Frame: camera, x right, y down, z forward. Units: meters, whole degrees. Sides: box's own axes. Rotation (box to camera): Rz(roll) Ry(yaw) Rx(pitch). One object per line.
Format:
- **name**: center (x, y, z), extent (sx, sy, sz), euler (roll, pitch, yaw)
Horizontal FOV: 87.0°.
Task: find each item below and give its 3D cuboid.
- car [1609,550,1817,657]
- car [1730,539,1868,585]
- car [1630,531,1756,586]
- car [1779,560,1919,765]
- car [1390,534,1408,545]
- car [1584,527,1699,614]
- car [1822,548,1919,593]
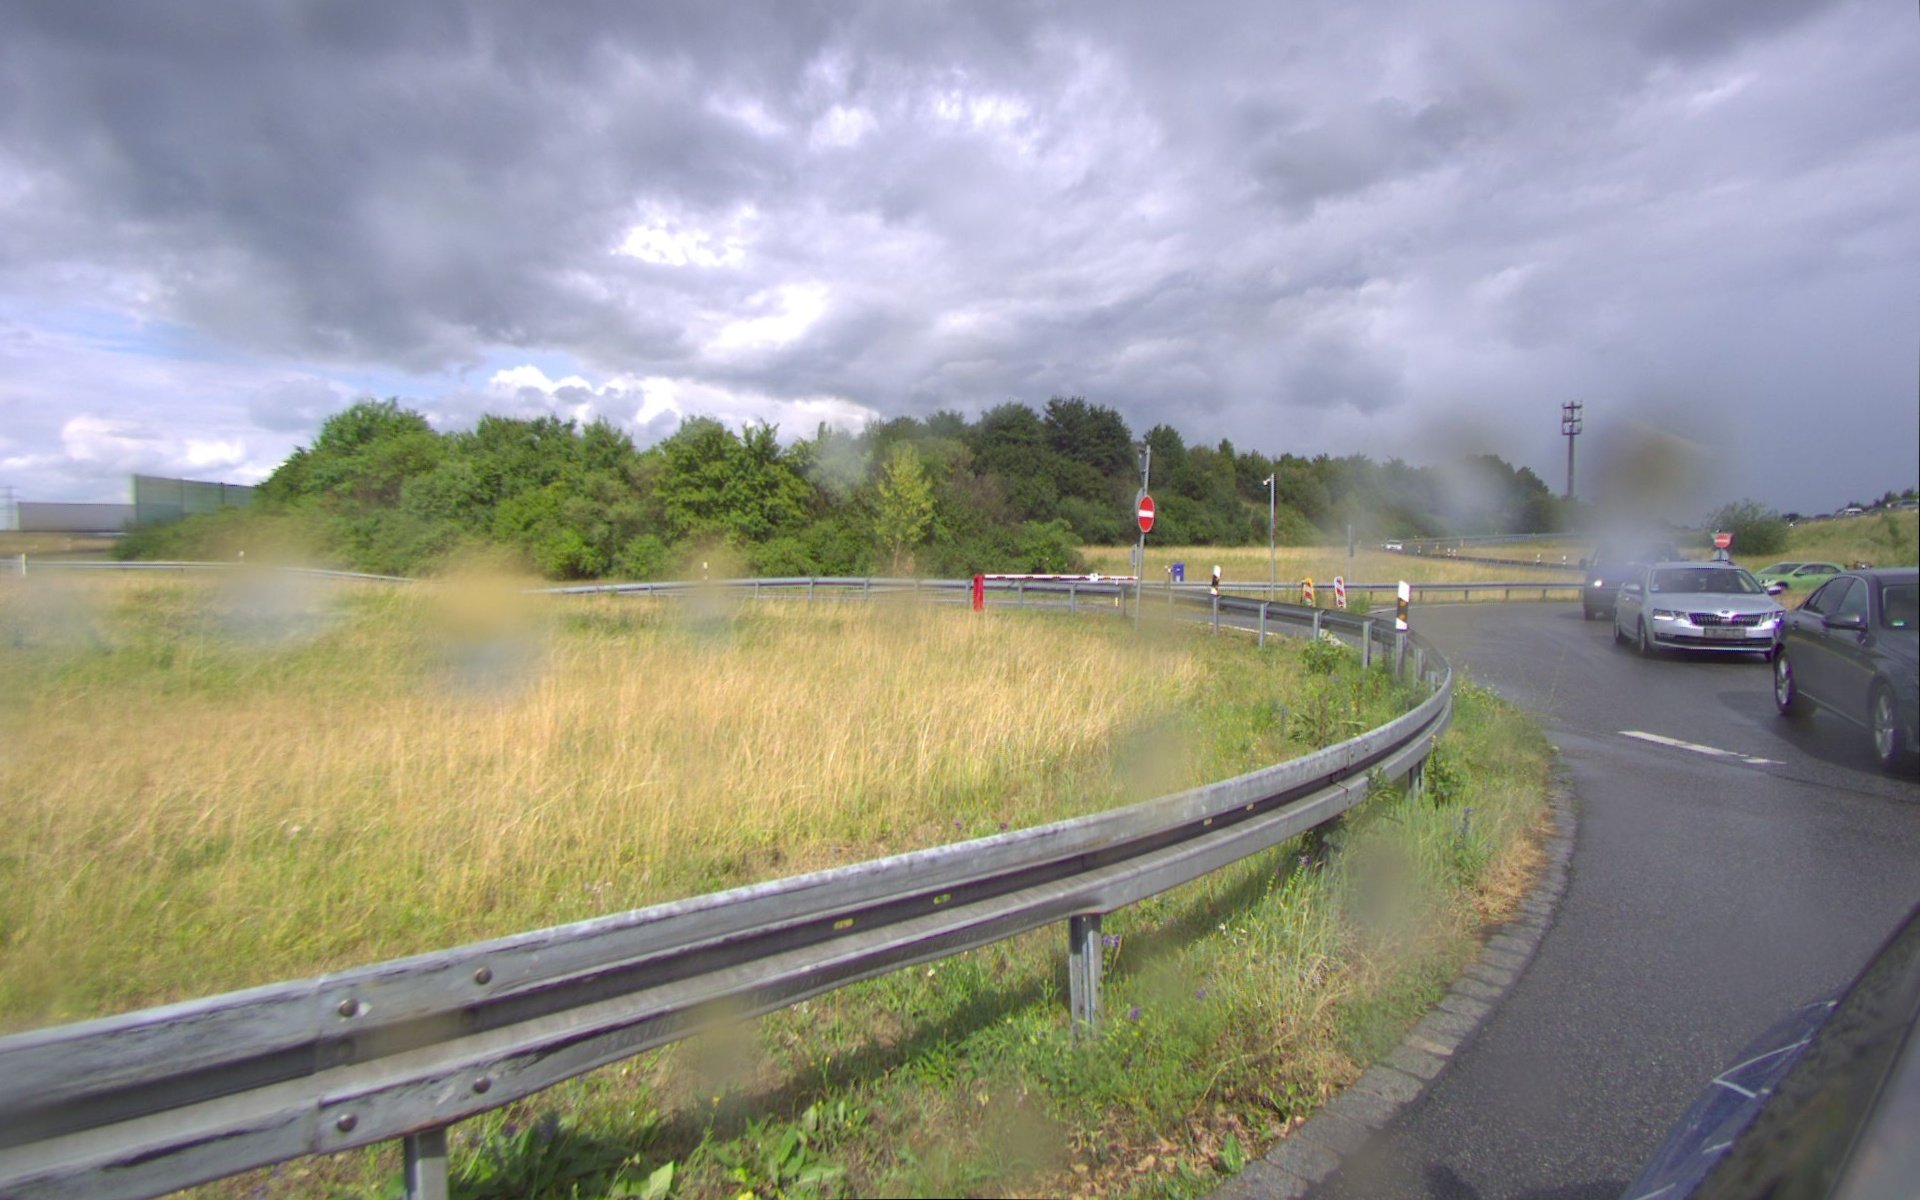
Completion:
- **car**: center (11.492, -0.048, 15.764), extent (1.780, 1.415, 4.311), euler (1, 2, 26)
- **car**: center (29.577, -1.348, 35.725), extent (3.847, 1.555, 1.576), euler (0, 2, -9)
- **car**: center (21.589, -1.225, 29.785), extent (3.760, 1.502, 1.776), euler (-1, 3, -34)
- **car**: center (8.157, 0.390, 8.021), extent (1.755, 1.408, 4.546), euler (0, 1, 28)
- **car**: center (51.934, -7.124, 119.734), extent (1.695, 1.305, 3.741), euler (1, 3, 27)
- **car**: center (17.234, -0.846, 25.454), extent (1.885, 1.938, 5.604), euler (1, 4, 39)
- **car**: center (33.496, -1.072, 36.438), extent (3.848, 1.555, 1.576), euler (0, 2, -9)
